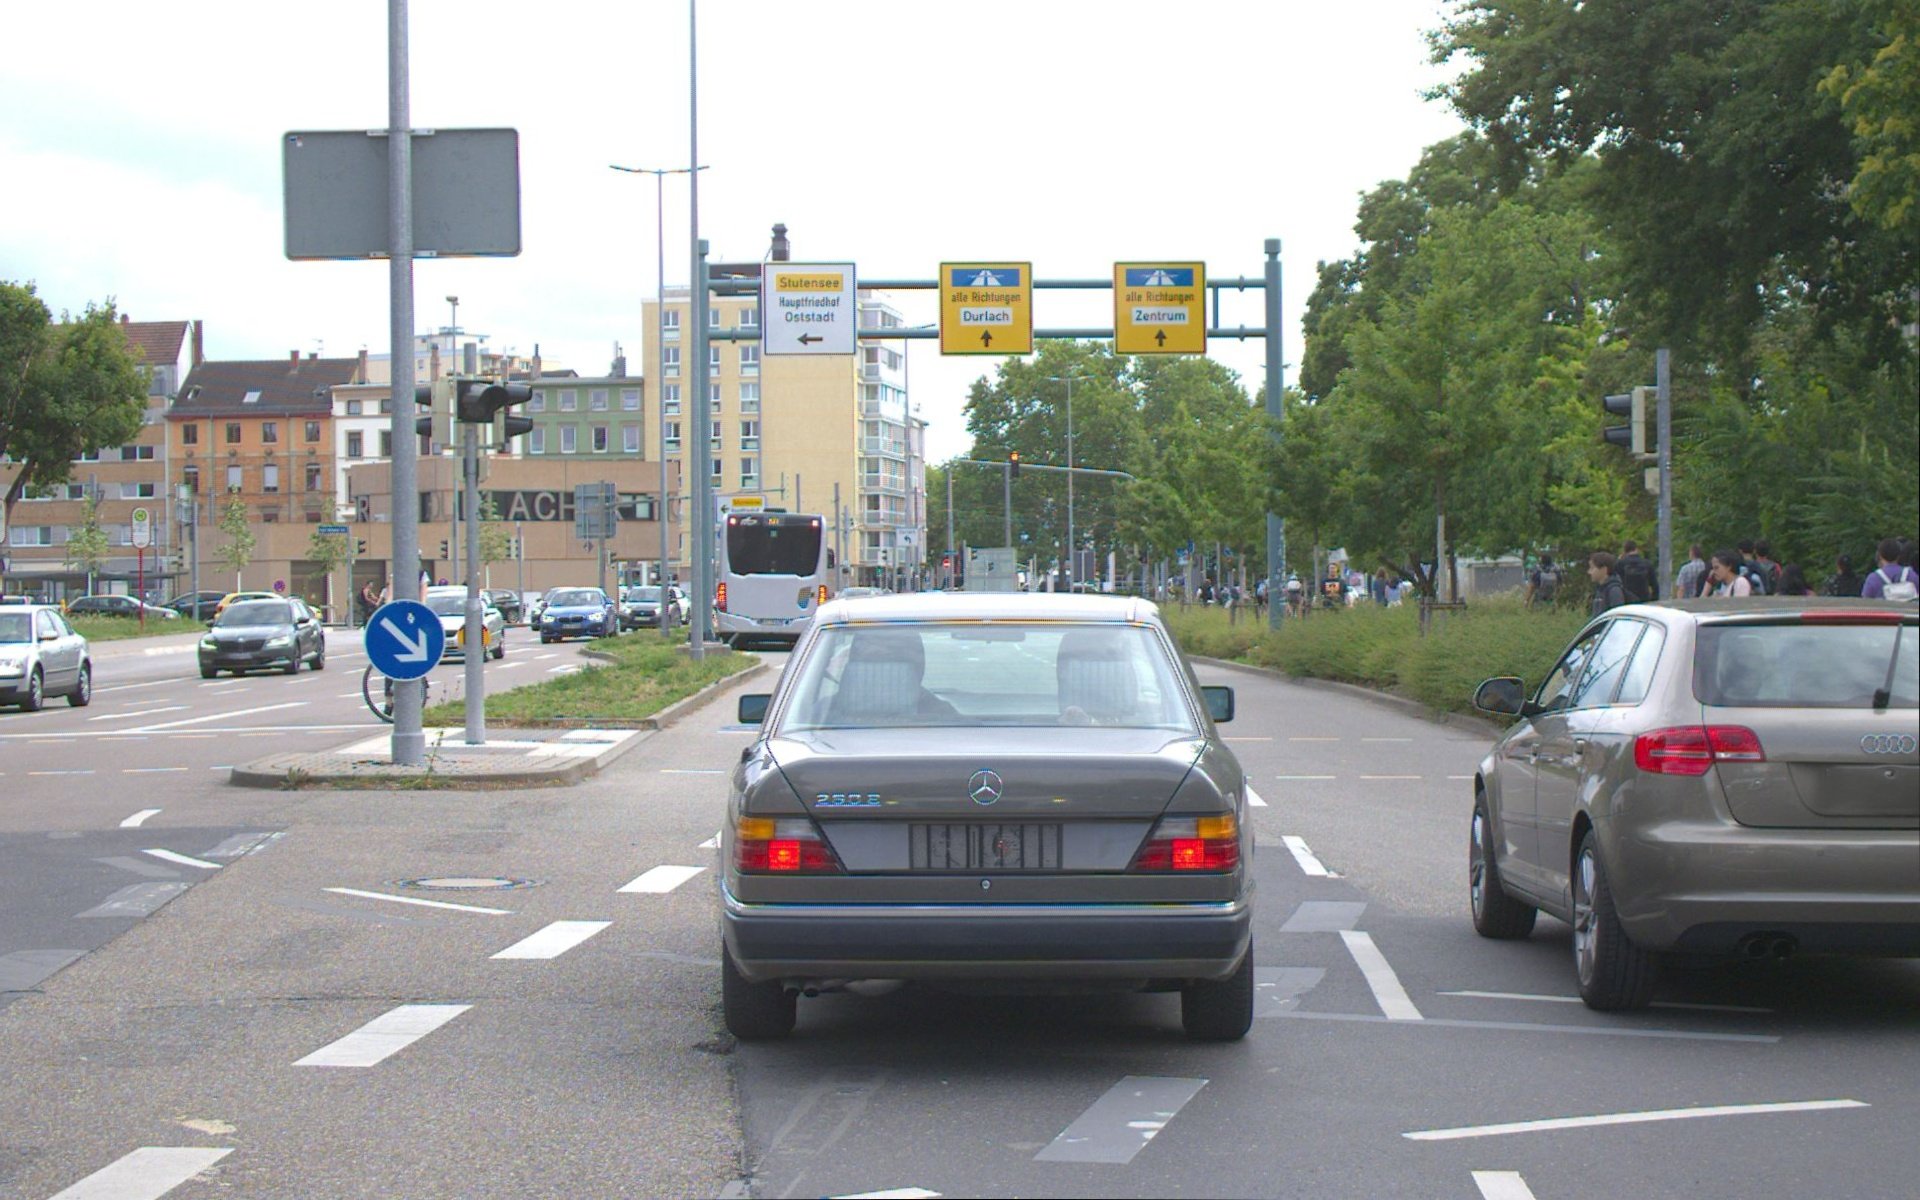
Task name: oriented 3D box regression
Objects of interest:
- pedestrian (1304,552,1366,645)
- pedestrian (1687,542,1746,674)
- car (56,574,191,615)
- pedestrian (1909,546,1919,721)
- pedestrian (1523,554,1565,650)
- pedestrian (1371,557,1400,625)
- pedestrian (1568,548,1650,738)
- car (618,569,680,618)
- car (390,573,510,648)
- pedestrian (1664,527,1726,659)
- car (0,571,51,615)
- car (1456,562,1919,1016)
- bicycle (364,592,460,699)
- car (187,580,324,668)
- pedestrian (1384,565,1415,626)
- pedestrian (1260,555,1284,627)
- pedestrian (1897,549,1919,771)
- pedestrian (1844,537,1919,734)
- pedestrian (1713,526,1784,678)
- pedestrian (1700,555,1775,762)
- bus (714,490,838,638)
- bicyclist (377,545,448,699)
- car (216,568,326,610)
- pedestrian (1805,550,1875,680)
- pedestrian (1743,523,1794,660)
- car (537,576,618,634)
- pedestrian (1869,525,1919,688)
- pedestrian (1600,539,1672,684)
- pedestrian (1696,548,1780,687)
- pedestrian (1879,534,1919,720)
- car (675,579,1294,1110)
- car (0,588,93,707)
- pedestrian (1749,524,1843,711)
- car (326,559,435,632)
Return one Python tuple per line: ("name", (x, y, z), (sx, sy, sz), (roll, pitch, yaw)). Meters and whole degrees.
("pedestrian", (7.448, -0.028, 68.249), (0.935, 1.824, 0.886), (-1, 0, 27))
("pedestrian", (9.553, 0.099, 43.443), (0.555, 1.649, 0.753), (-1, 0, 0))
("car", (-31.204, -0.210, 128.362), (4.668, 1.470, 1.661), (1, 0, -5))
("pedestrian", (9.953, 0.328, 34.212), (0.656, 1.760, 0.958), (-2, 0, -3))
("pedestrian", (10.308, 0.030, 60.710), (0.587, 1.677, 0.748), (-1, 0, 0))
("pedestrian", (10.736, -0.221, 86.778), (0.647, 1.707, 0.561), (-1, 0, 14))
("pedestrian", (5.975, 0.392, 31.666), (0.601, 1.729, 0.654), (0, 0, -3))
("car", (-10.060, -0.223, 111.334), (1.572, 1.484, 3.636), (-2, 1, 1))
("car", (-10.511, 0.201, 71.117), (1.801, 1.484, 4.289), (0, 1, 0))
("pedestrian", (9.694, -0.096, 45.378), (0.619, 1.729, 0.814), (-1, 0, 0))
("car", (-37.158, -0.259, 131.912), (4.153, 1.644, 1.647), (-1, 0, -6))
("car", (2.984, 0.591, 12.955), (1.724, 1.452, 3.736), (0, 1, 1))
("bicycle", (-5.611, 0.453, 35.283), (0.573, 1.052, 1.926), (0, 1, 3))
("car", (-13.716, 0.438, 67.146), (1.897, 1.610, 4.745), (0, 1, -3))
("pedestrian", (10.547, -0.106, 82.507), (0.657, 1.465, 0.561), (-1, 0, 16))
("pedestrian", (8.721, -0.243, 96.088), (0.614, 2.007, 0.597), (0, 0, -2))
("pedestrian", (7.528, 0.454, 26.234), (0.545, 1.681, 0.637), (0, 0, -3))
("pedestrian", (8.377, 0.313, 30.878), (0.624, 1.739, 0.780), (-1, 0, -3))
("pedestrian", (9.547, 0.025, 41.646), (0.656, 1.815, 0.812), (-1, 0, 0))
("pedestrian", (6.578, 0.485, 29.111), (0.454, 1.729, 0.637), (0, 0, -3))
("bus", (-4.407, -0.868, 83.117), (2.831, 3.379, 8.183), (0, 1, -2))
("bicyclist", (-5.613, 0.220, 35.246), (0.572, 1.568, 0.699), (0, 0, 3))
("car", (-25.802, -0.429, 128.796), (3.856, 1.512, 1.661), (1, 0, -5))
("pedestrian", (10.848, 0.179, 42.401), (0.635, 1.578, 0.785), (-1, 0, 0))
("pedestrian", (10.491, -0.110, 44.624), (0.484, 1.757, 0.664), (-1, 0, 0))
("car", (-10.242, 0.148, 92.206), (1.801, 1.506, 4.104), (0, 0, -1))
("pedestrian", (10.017, 0.061, 36.127), (0.656, 1.683, 0.842), (-1, 0, -3))
("pedestrian", (8.577, 0.141, 43.634), (0.693, 1.815, 0.954), (-1, 0, 0))
("pedestrian", (9.095, 0.202, 40.223), (0.775, 1.597, 0.812), (-1, 0, 0))
("pedestrian", (9.119, 0.244, 32.555), (0.581, 1.739, 0.790), (-1, 0, -3))
("car", (0.013, 0.686, 11.918), (1.761, 1.484, 4.171), (0, 1, -2))
("car", (-12.912, 0.603, 45.911), (1.761, 1.484, 4.546), (0, 1, -3))
("pedestrian", (7.888, 0.157, 32.456), (0.656, 1.739, 0.780), (-1, 0, -3))
("car", (-13.552, -0.127, 80.613), (1.864, 1.646, 4.422), (0, 0, -1))
